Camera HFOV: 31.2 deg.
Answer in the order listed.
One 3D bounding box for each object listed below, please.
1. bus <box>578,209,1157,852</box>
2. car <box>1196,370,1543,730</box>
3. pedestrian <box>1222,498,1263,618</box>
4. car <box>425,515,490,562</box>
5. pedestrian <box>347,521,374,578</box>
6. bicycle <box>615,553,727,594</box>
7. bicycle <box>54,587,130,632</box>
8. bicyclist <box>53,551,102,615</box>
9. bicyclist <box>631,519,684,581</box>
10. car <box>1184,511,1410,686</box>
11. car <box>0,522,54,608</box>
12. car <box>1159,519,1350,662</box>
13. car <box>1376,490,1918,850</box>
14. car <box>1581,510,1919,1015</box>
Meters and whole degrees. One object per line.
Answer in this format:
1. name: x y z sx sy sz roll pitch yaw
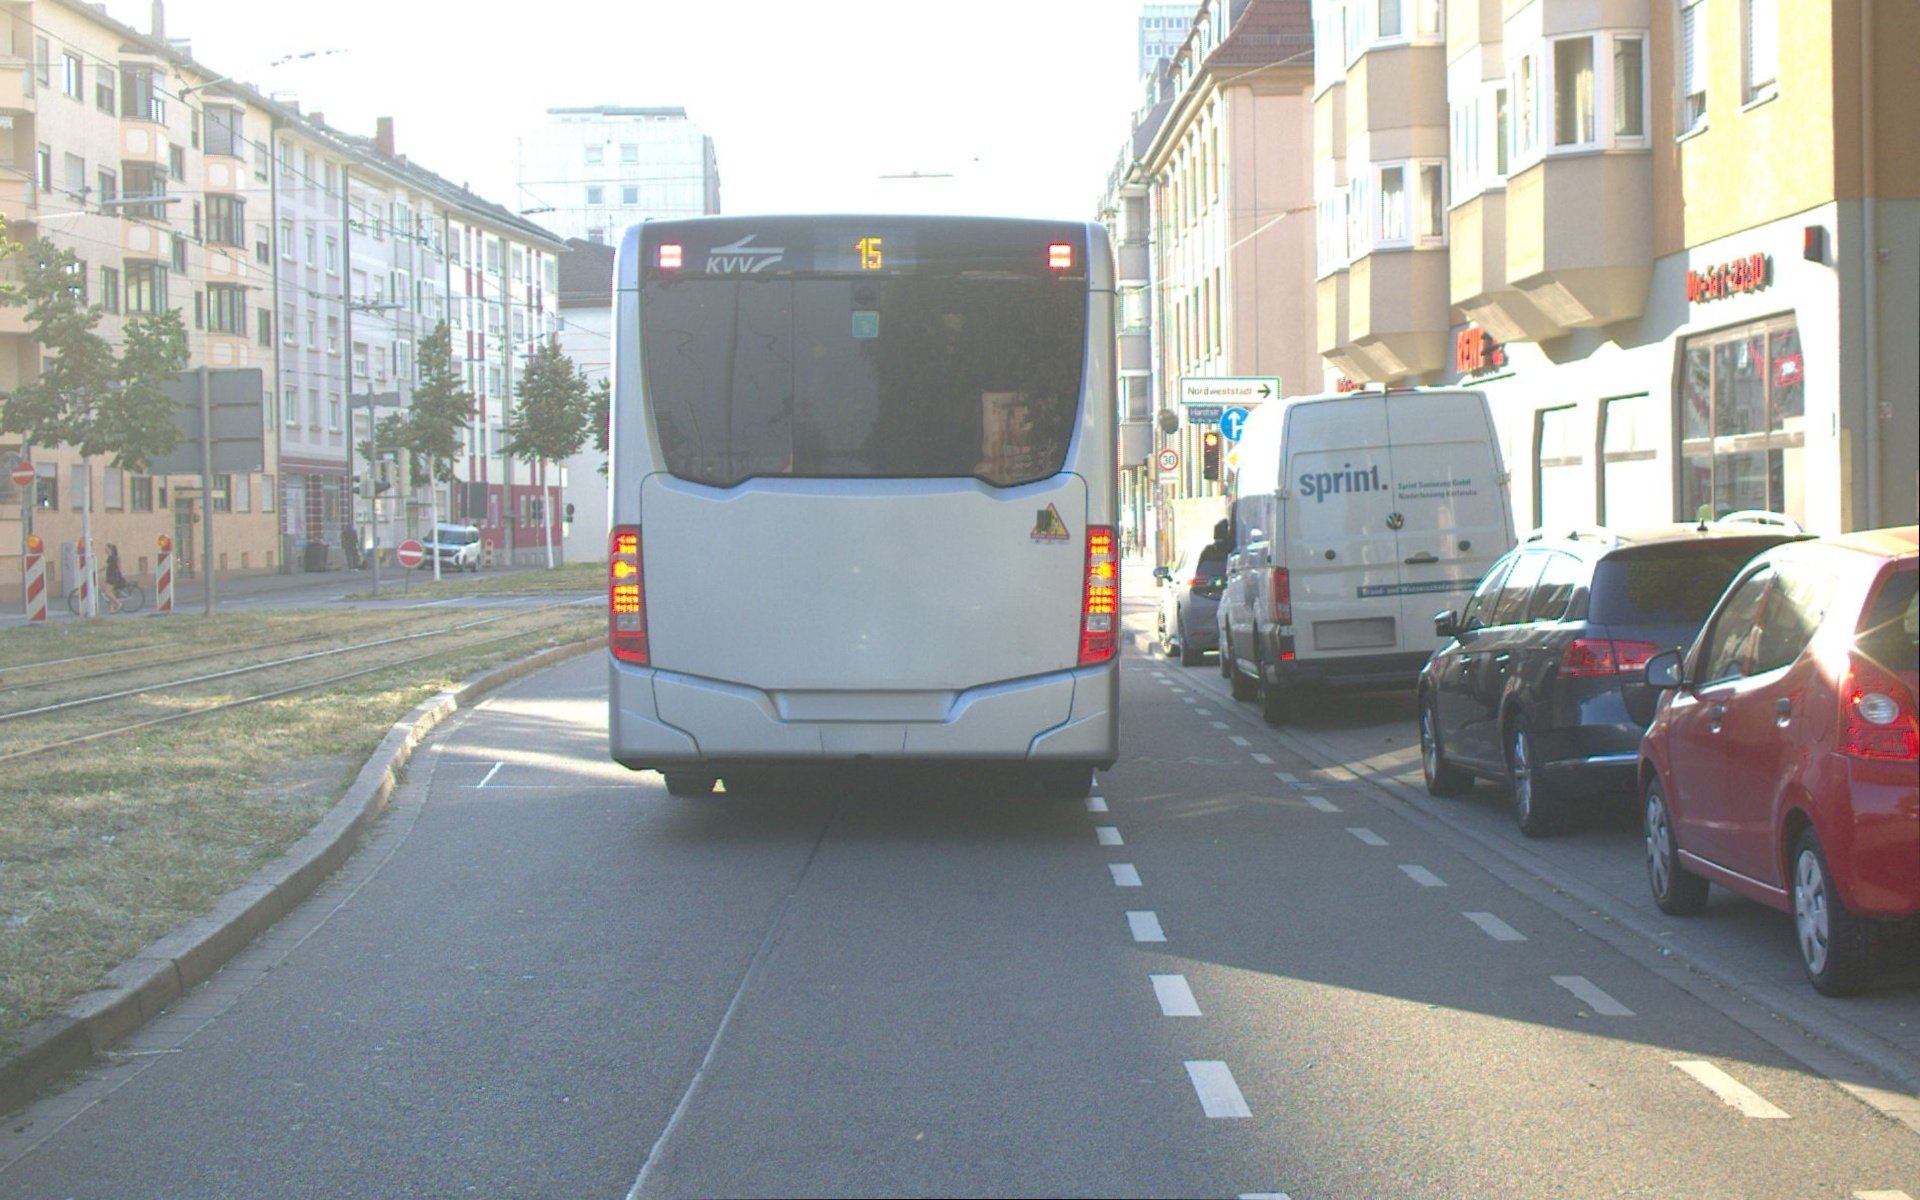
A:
1. bus: -0.432 -0.430 20.841 2.738 3.045 8.854 1 1 0
2. car: 3.254 -0.431 28.547 2.017 2.542 5.785 -4 1 0
3. pedestrian: 4.219 -0.626 51.361 0.547 1.778 0.449 -1 1 1
4. car: -19.566 -2.407 133.964 1.812 1.791 4.245 -1 1 1
5. pedestrian: -21.416 -1.795 122.800 0.786 2.007 0.891 -1 1 -3
6. bicycle: -5.567 -0.506 66.085 2.062 0.730 0.763 -1 1 -11
7. bicycle: -20.264 0.223 80.290 0.528 0.980 1.880 -1 1 31
8. bicyclist: -20.502 -0.399 79.879 0.528 1.442 0.964 -1 1 31
9. bicyclist: -5.815 -0.968 66.026 0.932 1.157 0.644 -1 1 -11
10. car: 3.252 -0.055 33.825 1.838 1.582 3.786 -1 1 0
11. car: -18.450 -0.624 63.880 1.812 1.554 4.935 -2 2 1
12. car: 3.353 -0.150 39.769 1.838 1.531 4.230 -1 1 0
13. car: 3.396 0.271 17.900 1.696 1.525 4.653 -4 1 -1
14. car: 3.396 0.442 12.263 1.569 1.489 3.626 -3 1 -1
